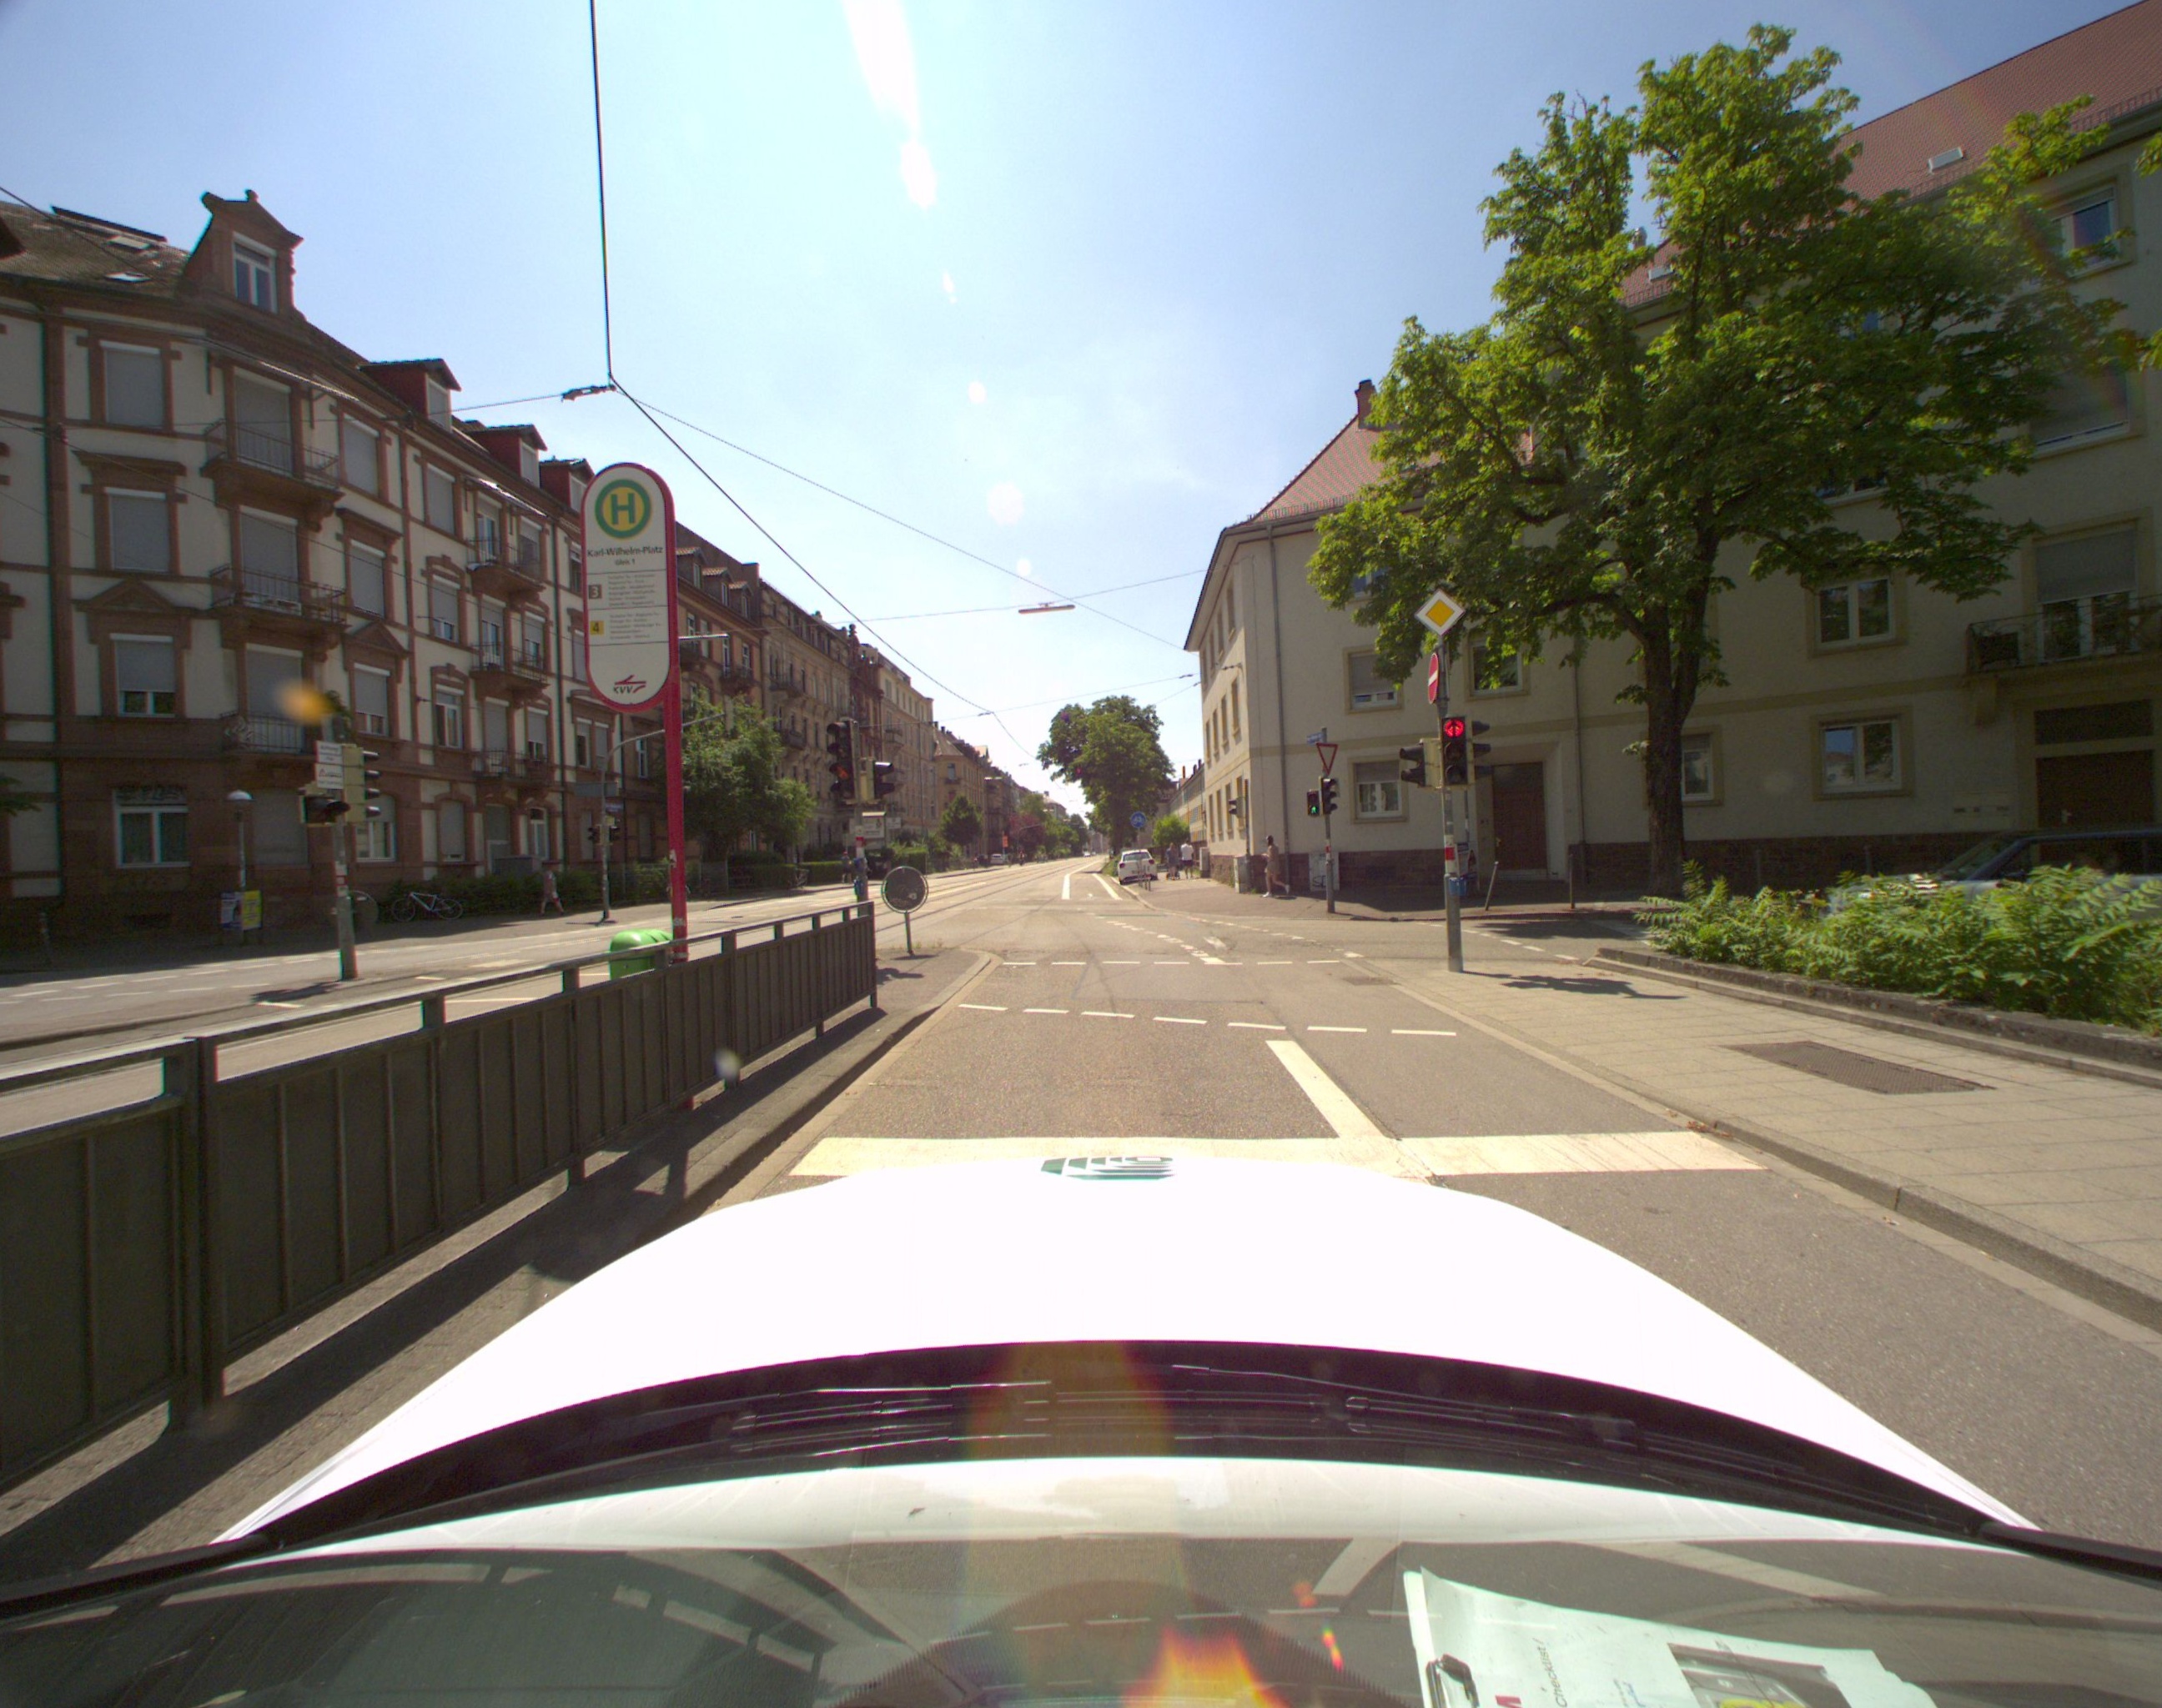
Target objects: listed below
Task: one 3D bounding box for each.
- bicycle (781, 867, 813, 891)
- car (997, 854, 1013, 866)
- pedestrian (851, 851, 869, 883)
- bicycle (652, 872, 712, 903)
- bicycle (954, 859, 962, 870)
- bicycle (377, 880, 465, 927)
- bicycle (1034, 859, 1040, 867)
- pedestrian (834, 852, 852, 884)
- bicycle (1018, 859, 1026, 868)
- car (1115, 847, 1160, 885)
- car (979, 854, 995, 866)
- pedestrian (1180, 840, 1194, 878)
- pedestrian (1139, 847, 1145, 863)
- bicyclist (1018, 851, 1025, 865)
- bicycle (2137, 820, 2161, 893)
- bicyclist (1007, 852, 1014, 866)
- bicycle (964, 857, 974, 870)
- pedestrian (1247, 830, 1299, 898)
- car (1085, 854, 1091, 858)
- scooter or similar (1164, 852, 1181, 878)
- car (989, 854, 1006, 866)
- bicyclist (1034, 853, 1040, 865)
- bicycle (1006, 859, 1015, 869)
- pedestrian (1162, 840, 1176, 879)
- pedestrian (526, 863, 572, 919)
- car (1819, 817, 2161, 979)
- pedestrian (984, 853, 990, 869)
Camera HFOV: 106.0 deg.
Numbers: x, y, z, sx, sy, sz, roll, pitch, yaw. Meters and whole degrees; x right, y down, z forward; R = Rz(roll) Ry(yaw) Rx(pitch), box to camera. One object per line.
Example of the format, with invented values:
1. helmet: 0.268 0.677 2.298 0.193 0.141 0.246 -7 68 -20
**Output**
1. bicycle: -14.373 1.259 41.260 0.936 1.136 2.767 0 -1 -7
2. car: -11.651 0.884 124.331 1.912 1.715 4.001 0 -1 2
3. pedestrian: -12.937 0.765 47.667 0.814 1.822 0.872 0 1 -3
4. bicycle: -15.663 1.305 32.084 0.934 1.136 2.774 0 -1 1
5. bicycle: -12.146 1.036 80.501 0.677 1.064 1.912 -2 0 -9
6. bicycle: -19.548 1.442 24.162 0.557 1.294 1.975 -1 -1 43
7. bicycle: -6.886 1.400 127.450 0.724 1.123 2.087 0 -1 4
8. pedestrian: -13.794 0.784 47.171 0.814 1.822 0.872 0 1 -3
9. bicycle: -7.589 1.184 104.099 0.724 1.123 2.087 0 -1 4
10. car: 2.531 0.534 37.401 1.808 1.516 4.001 -4 -1 2
11. car: -14.323 0.905 124.469 1.912 1.715 4.001 0 -1 2
12. pedestrian: 4.627 0.238 35.611 0.554 1.645 0.678 0 -1 6
13. pedestrian: 5.753 0.087 76.593 0.519 1.562 0.573 -2 0 1
14. bicyclist: -7.582 0.521 104.221 0.724 1.768 1.080 0 -1 3
15. bicycle: 17.016 0.023 12.085 0.527 1.104 1.589 -2 0 -34
16. bicyclist: -8.012 0.588 92.669 0.724 1.629 1.080 0 -1 3
17. bicycle: -11.702 0.964 85.138 0.675 1.278 1.918 -2 0 -1
18. pedestrian: 5.181 0.282 21.979 1.044 1.690 0.658 -6 3 29
19. car: 2.121 0.572 238.461 1.699 1.277 4.001 0 0 2
20. scooter or similar: 4.058 0.489 36.221 0.552 1.155 1.210 -1 -1 15
21. car: -11.872 0.818 116.067 1.912 1.715 4.001 0 -1 2
22. bicyclist: -6.895 0.756 127.462 0.724 1.818 1.080 0 -1 3
23. bicycle: -7.994 1.113 92.658 0.724 1.123 2.087 0 -1 4
24. pedestrian: 3.816 0.241 35.283 0.554 1.645 0.678 0 -1 6
25. pedestrian: -16.919 1.152 25.915 1.068 1.689 0.714 -2 0 -42
26. car: 10.295 0.393 8.600 1.716 1.506 3.607 -2 1 -45
27. pedestrian: -10.281 0.774 89.499 0.519 1.659 0.529 -2 0 1
